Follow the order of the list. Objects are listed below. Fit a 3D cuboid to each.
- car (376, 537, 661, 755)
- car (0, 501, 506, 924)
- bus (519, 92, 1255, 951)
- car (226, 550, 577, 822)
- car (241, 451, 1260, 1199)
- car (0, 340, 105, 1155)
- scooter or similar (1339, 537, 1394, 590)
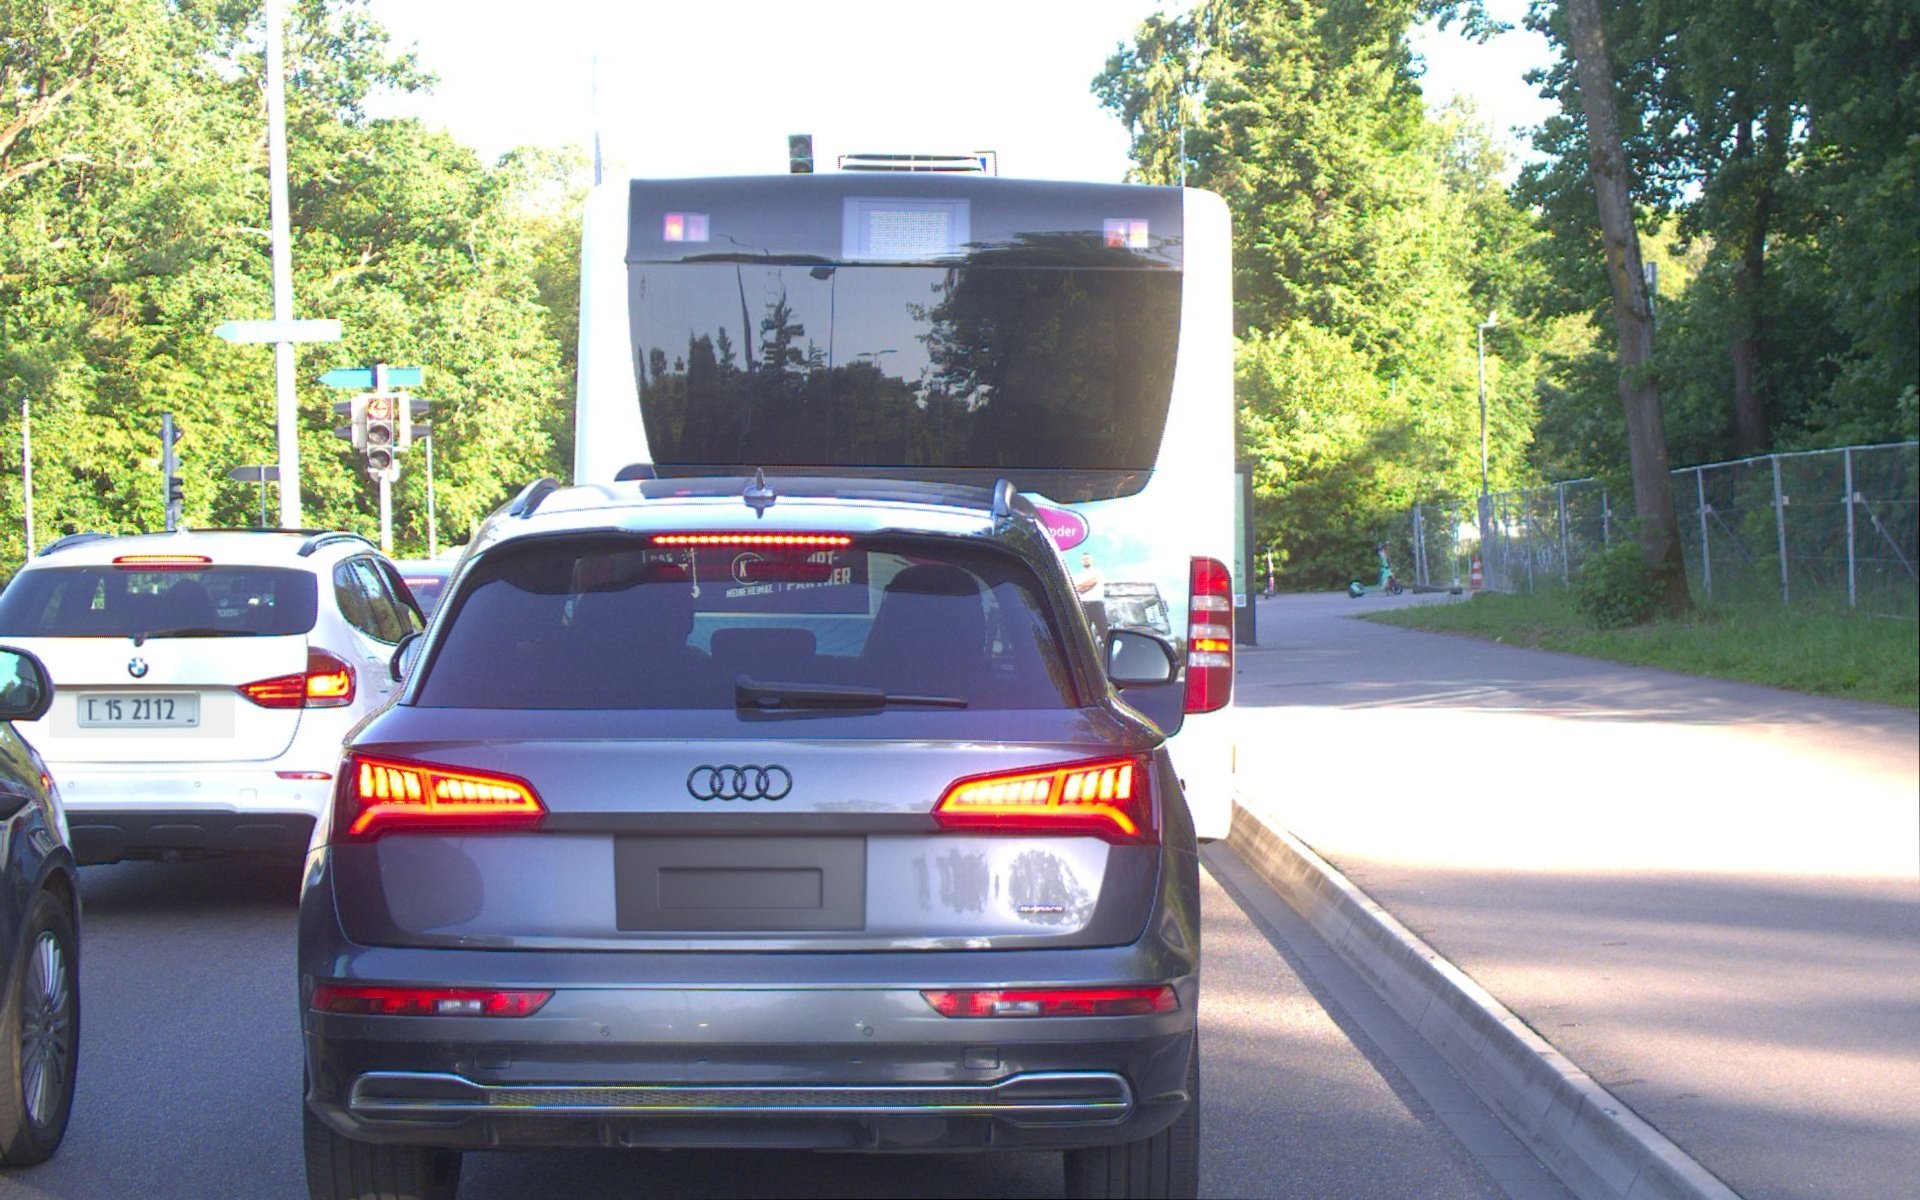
[{"bbox_3d":[-3.475,0.306,27.719,1.808,1.567,4.000,1,2,-1],"label":"car"},{"bbox_3d":[-3.140,0.441,15.171,1.718,1.575,4.434,1,0,-1],"label":"car"},{"bbox_3d":[-0.241,-0.369,15.630,2.678,3.131,5.882,1,2,1],"label":"bus"},{"bbox_3d":[-3.351,0.451,21.304,1.785,1.439,4.279,1,2,-4],"label":"car"},{"bbox_3d":[-0.413,0.512,8.362,1.868,1.658,4.000,1,2,-1],"label":"car"},{"bbox_3d":[-3.093,0.356,6.328,1.907,1.849,4.874,1,1,-1],"label":"car"},{"bbox_3d":[9.220,-0.834,77.918,1.184,1.170,0.659,1,1,11],"label":"scooter or similar"}]
